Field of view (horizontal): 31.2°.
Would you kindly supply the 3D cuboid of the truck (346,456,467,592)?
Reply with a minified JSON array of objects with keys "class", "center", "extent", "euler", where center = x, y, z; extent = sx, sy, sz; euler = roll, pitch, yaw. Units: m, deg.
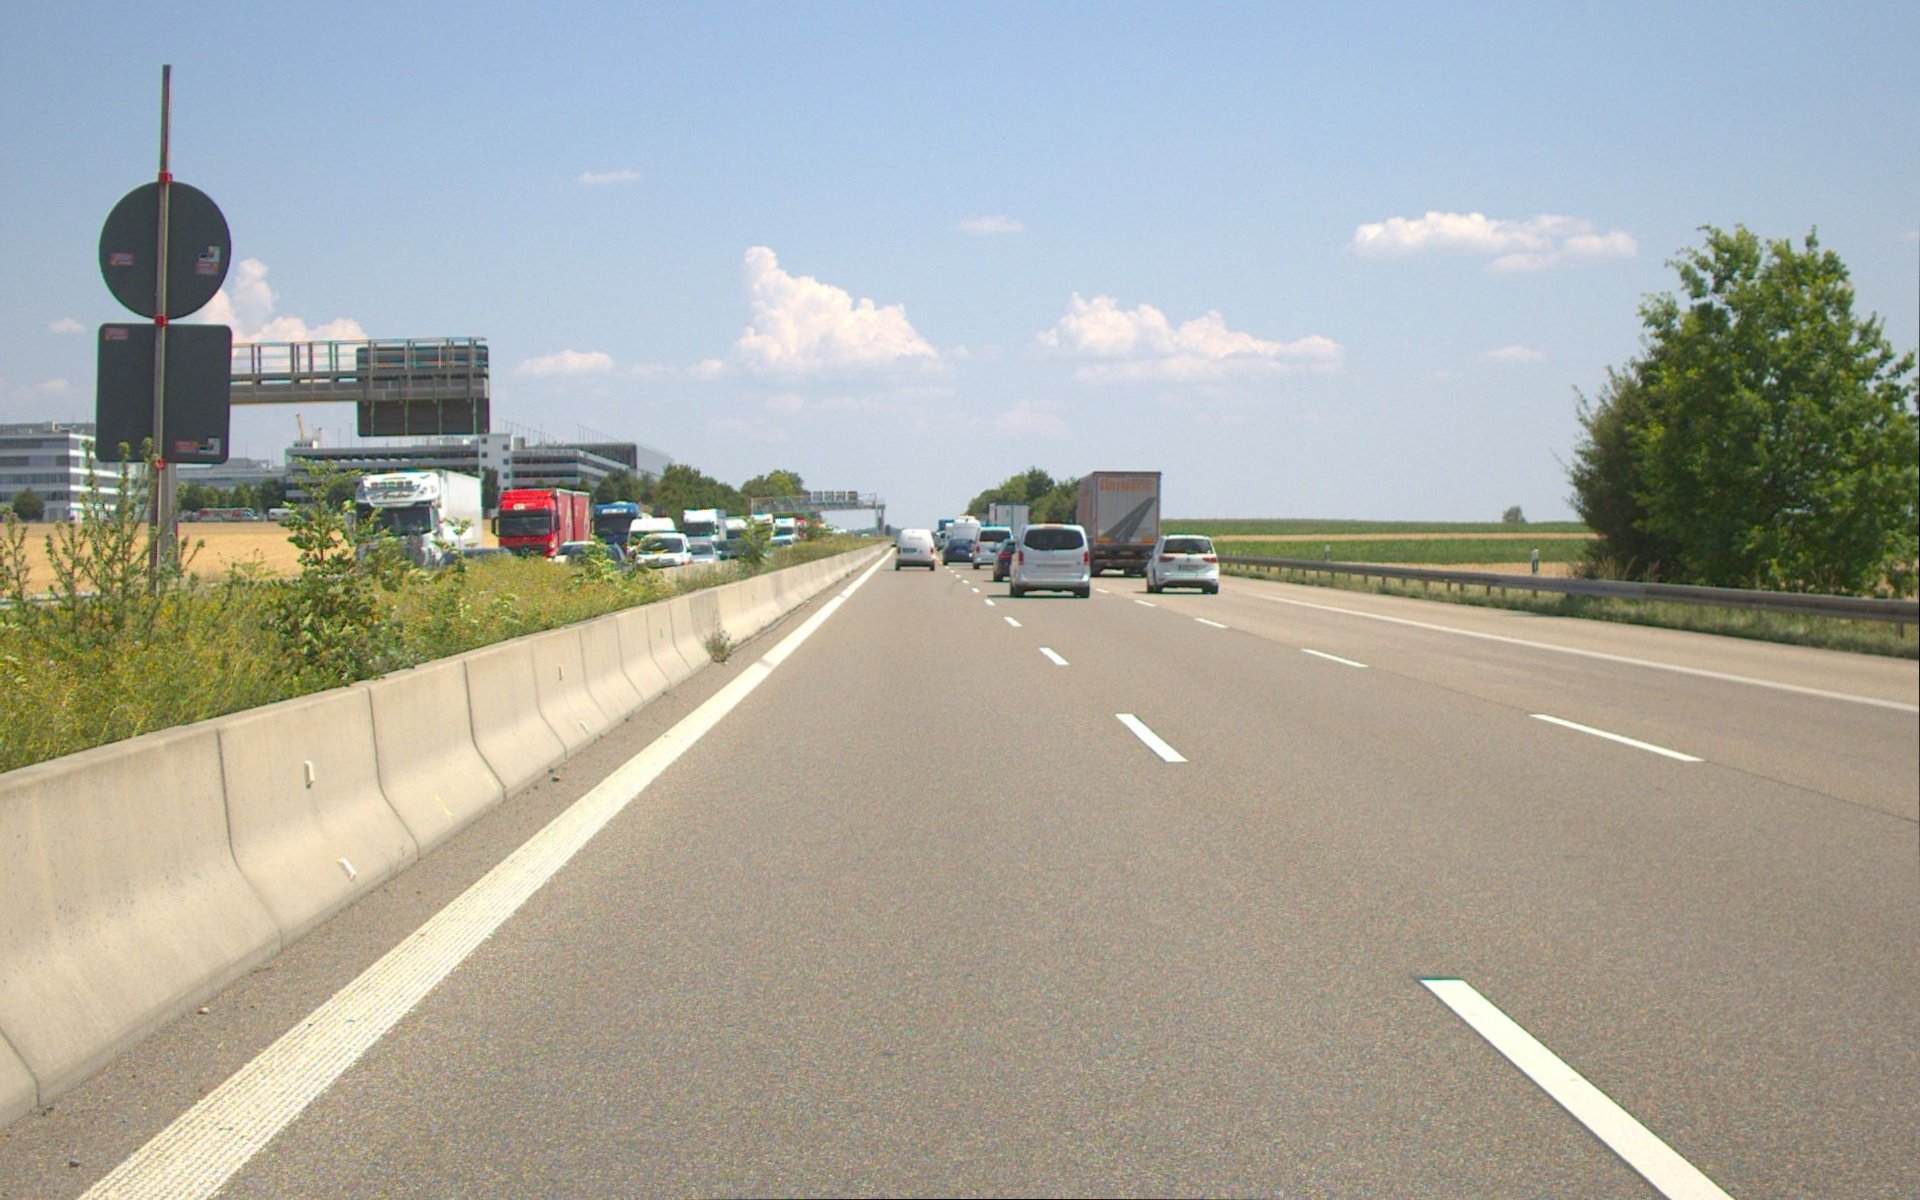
[{"class":"truck","center":[-17.638,-2.429,109.847],"extent":[2.950,4.143,5.472],"euler":[-2,1,-1]}]

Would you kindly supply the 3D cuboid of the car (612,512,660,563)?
[{"class":"car","center":[-15.173,-2.935,161.106],"extent":[1.859,2.328,5.708],"euler":[0,1,-2]}]

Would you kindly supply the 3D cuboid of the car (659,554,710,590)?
[{"class":"car","center":[-10.741,-1.097,134.185],"extent":[1.816,1.345,3.774],"euler":[0,1,-2]}]

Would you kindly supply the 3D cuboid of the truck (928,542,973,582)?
[{"class":"truck","center":[-0.517,-2.026,182.068],"extent":[2.211,2.007,4.972],"euler":[-1,1,-2]}]

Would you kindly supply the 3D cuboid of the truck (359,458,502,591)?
[{"class":"truck","center":[-17.778,-2.559,116.279],"extent":[2.950,4.143,12.868],"euler":[-2,1,-1]}]

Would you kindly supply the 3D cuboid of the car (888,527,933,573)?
[{"class":"car","center":[-2.191,-2.229,153.372],"extent":[1.993,2.007,4.000],"euler":[0,0,-1]}]

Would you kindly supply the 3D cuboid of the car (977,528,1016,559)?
[{"class":"car","center":[1.701,-2.649,161.819],"extent":[1.773,1.442,4.000],"euler":[0,0,-1]}]

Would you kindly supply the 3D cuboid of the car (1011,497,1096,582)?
[{"class":"car","center":[2.356,-1.514,87.692],"extent":[1.993,2.112,4.000],"euler":[0,0,-1]}]

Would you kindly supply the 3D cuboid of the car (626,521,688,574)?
[{"class":"car","center":[-10.251,-1.793,116.601],"extent":[1.816,1.747,4.994],"euler":[0,1,-2]}]

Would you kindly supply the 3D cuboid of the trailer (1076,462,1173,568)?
[{"class":"trailer","center":[6.402,-3.262,135.288],"extent":[3.277,3.953,9.113],"euler":[0,0,-1]}]

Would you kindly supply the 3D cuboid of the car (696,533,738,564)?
[{"class":"car","center":[-10.775,-2.302,152.566],"extent":[1.718,1.345,3.774],"euler":[0,1,-2]}]

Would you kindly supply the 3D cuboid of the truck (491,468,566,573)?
[{"class":"truck","center":[-19.000,-3.501,151.600],"extent":[2.776,4.582,4.724],"euler":[0,1,-2]}]

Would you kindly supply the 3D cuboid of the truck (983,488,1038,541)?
[{"class":"truck","center":[3.762,-6.383,258.517],"extent":[3.815,3.891,9.581],"euler":[-1,1,-1]}]

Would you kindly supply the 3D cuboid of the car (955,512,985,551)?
[{"class":"car","center":[0.614,-4.285,215.478],"extent":[1.773,2.384,4.000],"euler":[0,0,-1]}]

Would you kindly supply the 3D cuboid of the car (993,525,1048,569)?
[{"class":"car","center":[2.052,-1.813,117.409],"extent":[1.773,1.442,4.000],"euler":[0,0,-1]}]

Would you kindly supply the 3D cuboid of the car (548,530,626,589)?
[{"class":"car","center":[-9.723,-1.083,89.924],"extent":[1.673,1.482,4.398],"euler":[0,1,-2]}]

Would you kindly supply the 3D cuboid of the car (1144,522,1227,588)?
[{"class":"car","center":[6.264,-1.235,95.881],"extent":[1.993,1.788,4.000],"euler":[0,0,-1]}]

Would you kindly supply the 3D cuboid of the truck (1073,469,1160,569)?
[{"class":"truck","center":[6.336,-3.274,139.712],"extent":[3.271,3.953,4.912],"euler":[0,0,-1]}]

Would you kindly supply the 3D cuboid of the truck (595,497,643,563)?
[{"class":"truck","center":[-18.881,-3.871,190.735],"extent":[2.109,3.588,7.122],"euler":[0,1,-2]}]
